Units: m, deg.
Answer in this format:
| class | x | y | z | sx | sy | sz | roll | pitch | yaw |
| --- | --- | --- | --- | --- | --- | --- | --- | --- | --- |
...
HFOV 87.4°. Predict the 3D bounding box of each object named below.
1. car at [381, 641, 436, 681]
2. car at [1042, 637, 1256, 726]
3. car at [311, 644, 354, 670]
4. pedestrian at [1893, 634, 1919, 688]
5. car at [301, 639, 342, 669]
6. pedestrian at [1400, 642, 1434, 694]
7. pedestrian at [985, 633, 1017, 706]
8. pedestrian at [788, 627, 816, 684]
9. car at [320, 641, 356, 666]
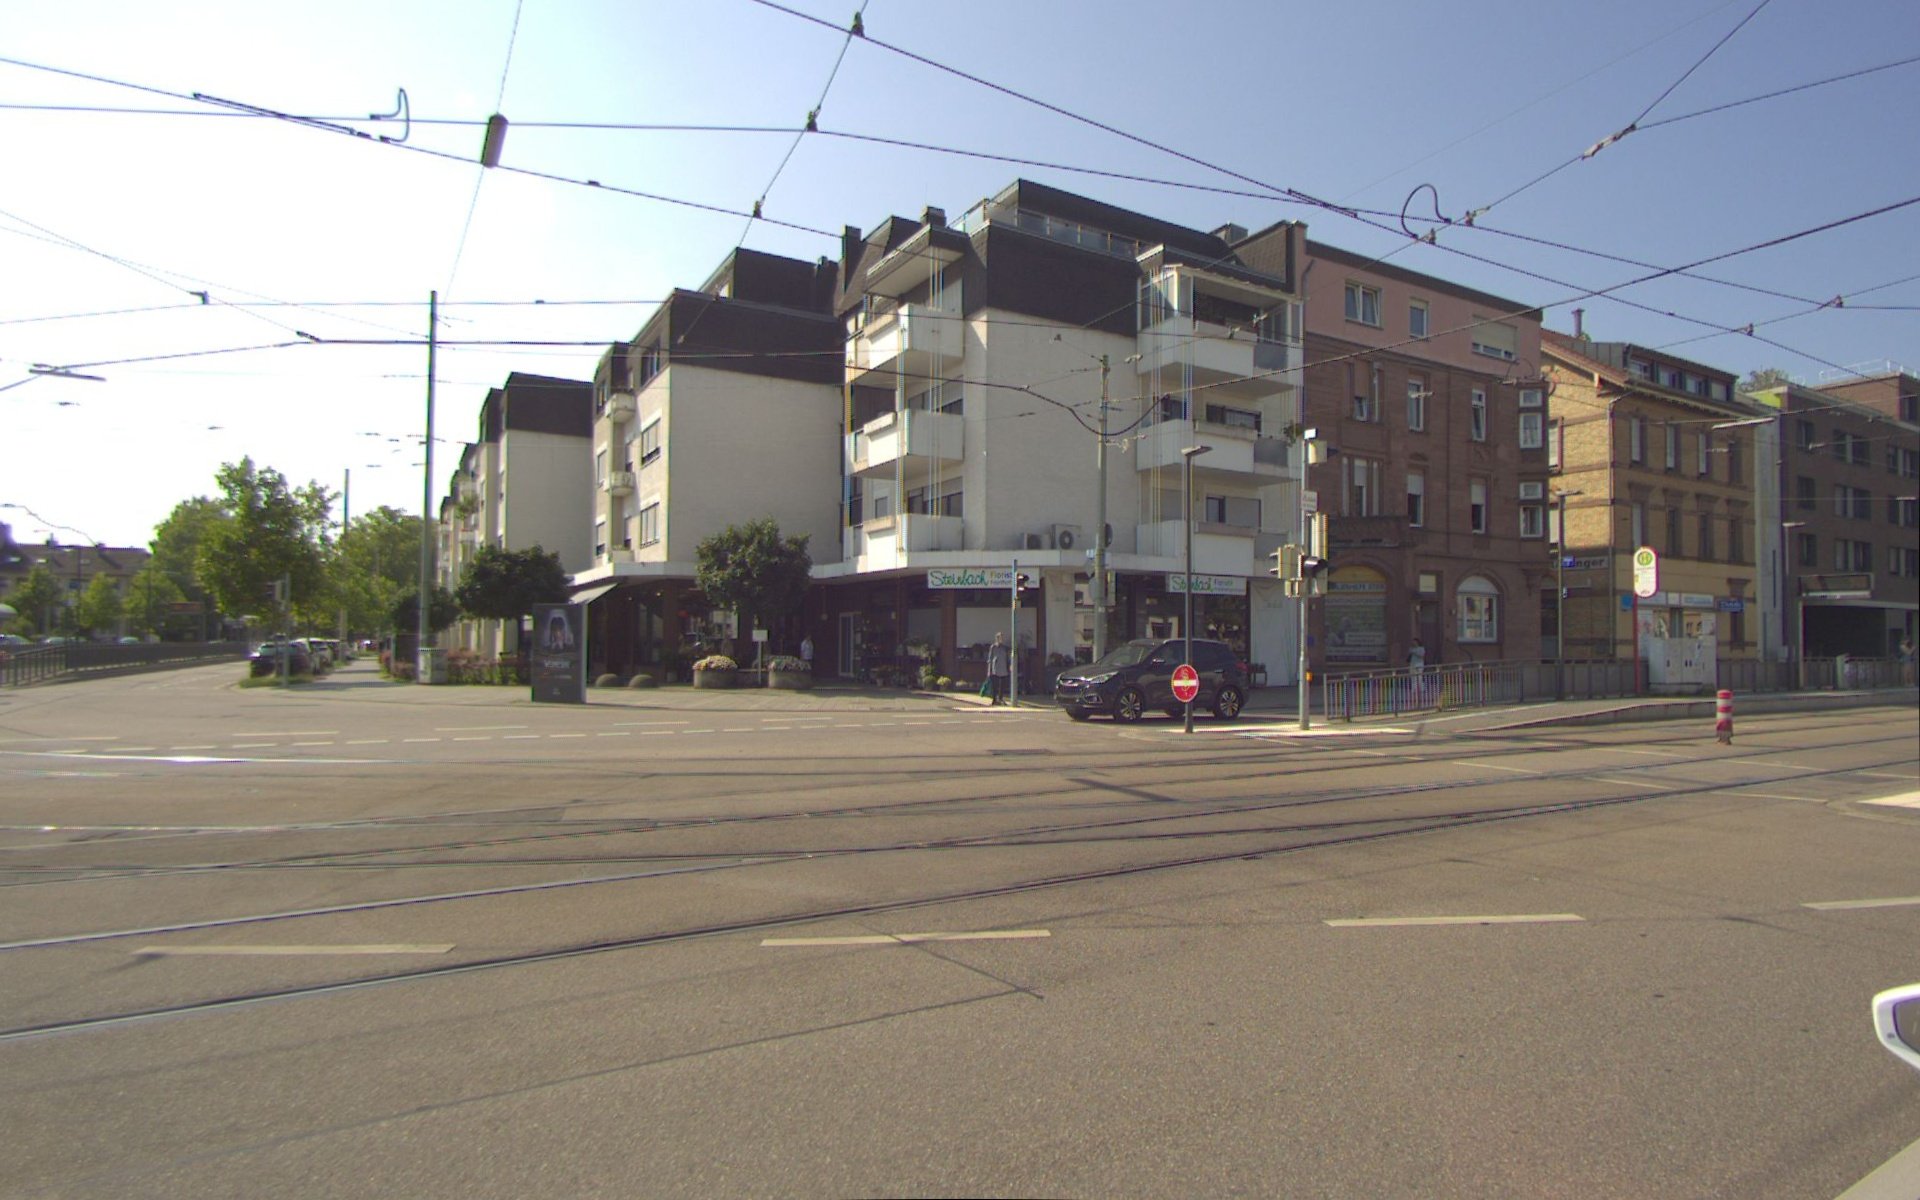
| class | x | y | z | sx | sy | sz | roll | pitch | yaw |
| --- | --- | --- | --- | --- | --- | --- | --- | --- | --- |
| car | -23.366 | 2.532 | 42.464 | 1.908 | 1.527 | 4.089 | 2 | -2 | -30 |
| car | 3.930 | 1.641 | 20.757 | 4.198 | 1.676 | 1.805 | 2 | -4 | -30 |
| car | -40.889 | 3.749 | 65.525 | 1.975 | 1.674 | 3.973 | 2 | -4 | -28 |
| pedestrian | 31.114 | 1.994 | 32.782 | 0.789 | 1.745 | 0.705 | 2 | -4 | -30 |
| car | -34.058 | 2.902 | 53.626 | 1.654 | 1.500 | 3.888 | 2 | -5 | -30 |
| pedestrian | 14.315 | 2.125 | 31.454 | 0.873 | 1.580 | 0.482 | 2 | -2 | -19 |
| pedestrian | 1.005 | 1.706 | 24.643 | 0.589 | 1.767 | 0.565 | -2 | -4 | 26 |
| pedestrian | -4.978 | 1.759 | 31.627 | 0.690 | 1.763 | 0.677 | 2 | -4 | -30 |
| car | -46.401 | 3.999 | 74.990 | 1.975 | 1.796 | 3.973 | 2 | -4 | -28 |
